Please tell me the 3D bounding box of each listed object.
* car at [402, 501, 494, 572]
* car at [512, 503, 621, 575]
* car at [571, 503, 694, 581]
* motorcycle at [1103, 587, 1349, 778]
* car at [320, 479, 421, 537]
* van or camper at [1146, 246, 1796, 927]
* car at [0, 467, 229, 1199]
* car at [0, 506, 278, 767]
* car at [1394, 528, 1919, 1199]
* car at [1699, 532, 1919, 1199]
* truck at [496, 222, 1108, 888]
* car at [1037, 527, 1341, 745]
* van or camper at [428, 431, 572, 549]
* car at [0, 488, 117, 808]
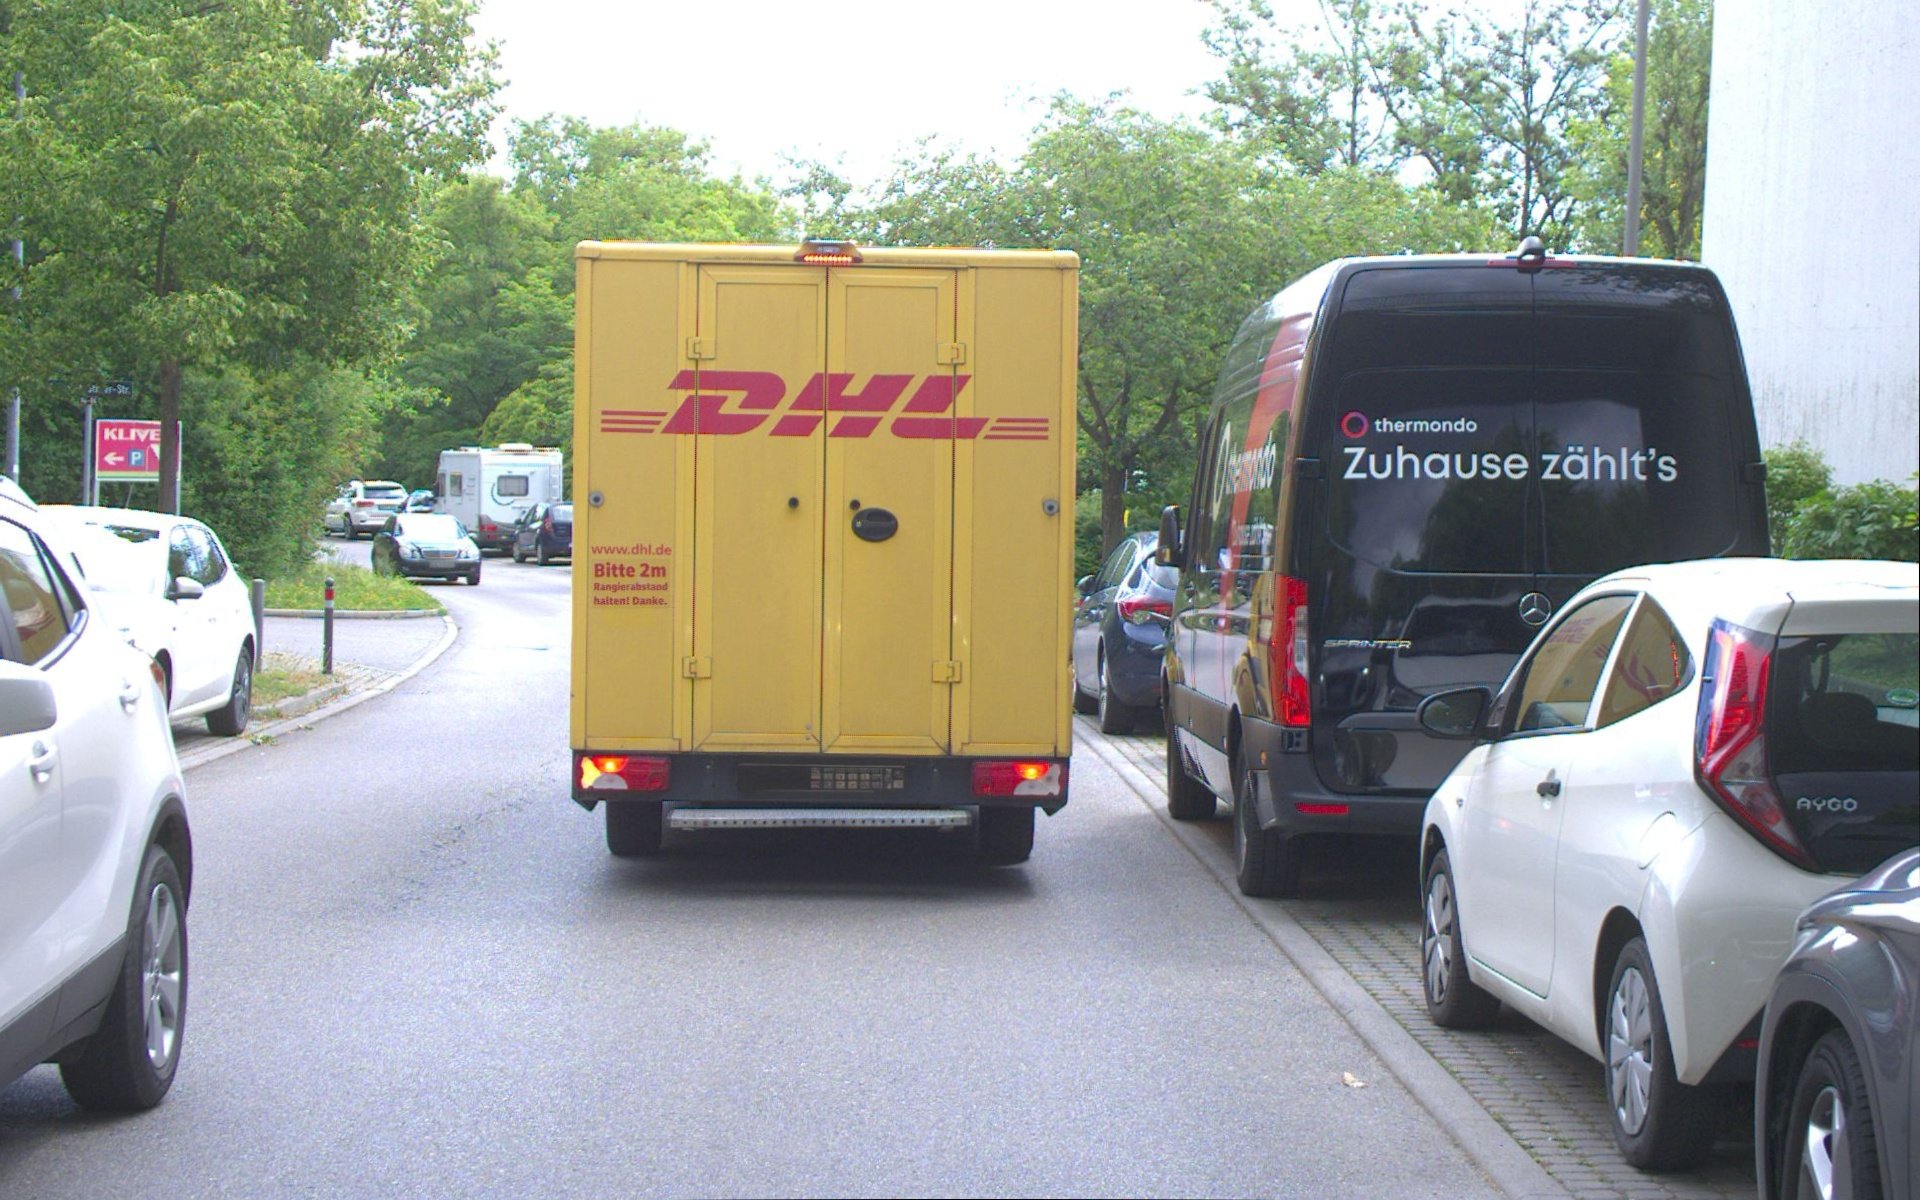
[{"bbox_3d":[-10.524,-1.320,70.815,1.674,1.350,3.970,3,1,-6],"label":"car"},{"bbox_3d":[-9.694,-1.515,84.417,1.843,1.524,4.002,2,3,-18],"label":"car"},{"bbox_3d":[-7.388,-1.319,77.241,1.843,1.524,4.002,2,3,-18],"label":"car"},{"bbox_3d":[1.648,0.494,21.684,0.898,1.108,2.085,2,0,-14],"label":"motorcycle"},{"bbox_3d":[-17.742,-2.787,103.374,1.843,1.524,4.001,1,3,-27],"label":"car"},{"bbox_3d":[2.041,-0.097,15.462,1.993,2.514,5.471,0,1,-1],"label":"van or camper"},{"bbox_3d":[-2.813,0.510,7.283,1.747,1.605,4.053,1,2,-2],"label":"car"},{"bbox_3d":[-5.530,0.158,21.713,1.674,1.431,3.970,3,1,-1],"label":"car"},{"bbox_3d":[2.255,0.578,9.278,1.562,1.491,3.331,1,2,-3],"label":"car"},{"bbox_3d":[2.250,0.689,4.154,1.699,1.491,4.119,1,1,-2],"label":"car"},{"bbox_3d":[-0.799,-0.277,17.366,2.466,2.693,6.825,0,2,-3],"label":"truck"},{"bbox_3d":[1.625,0.227,25.701,1.728,1.428,3.969,3,1,-3],"label":"car"},{"bbox_3d":[-12.221,-2.943,90.995,2.323,2.862,5.262,1,3,-24],"label":"van or camper"},{"bbox_3d":[-5.260,0.182,16.852,1.528,1.501,2.713,3,1,0],"label":"car"}]
